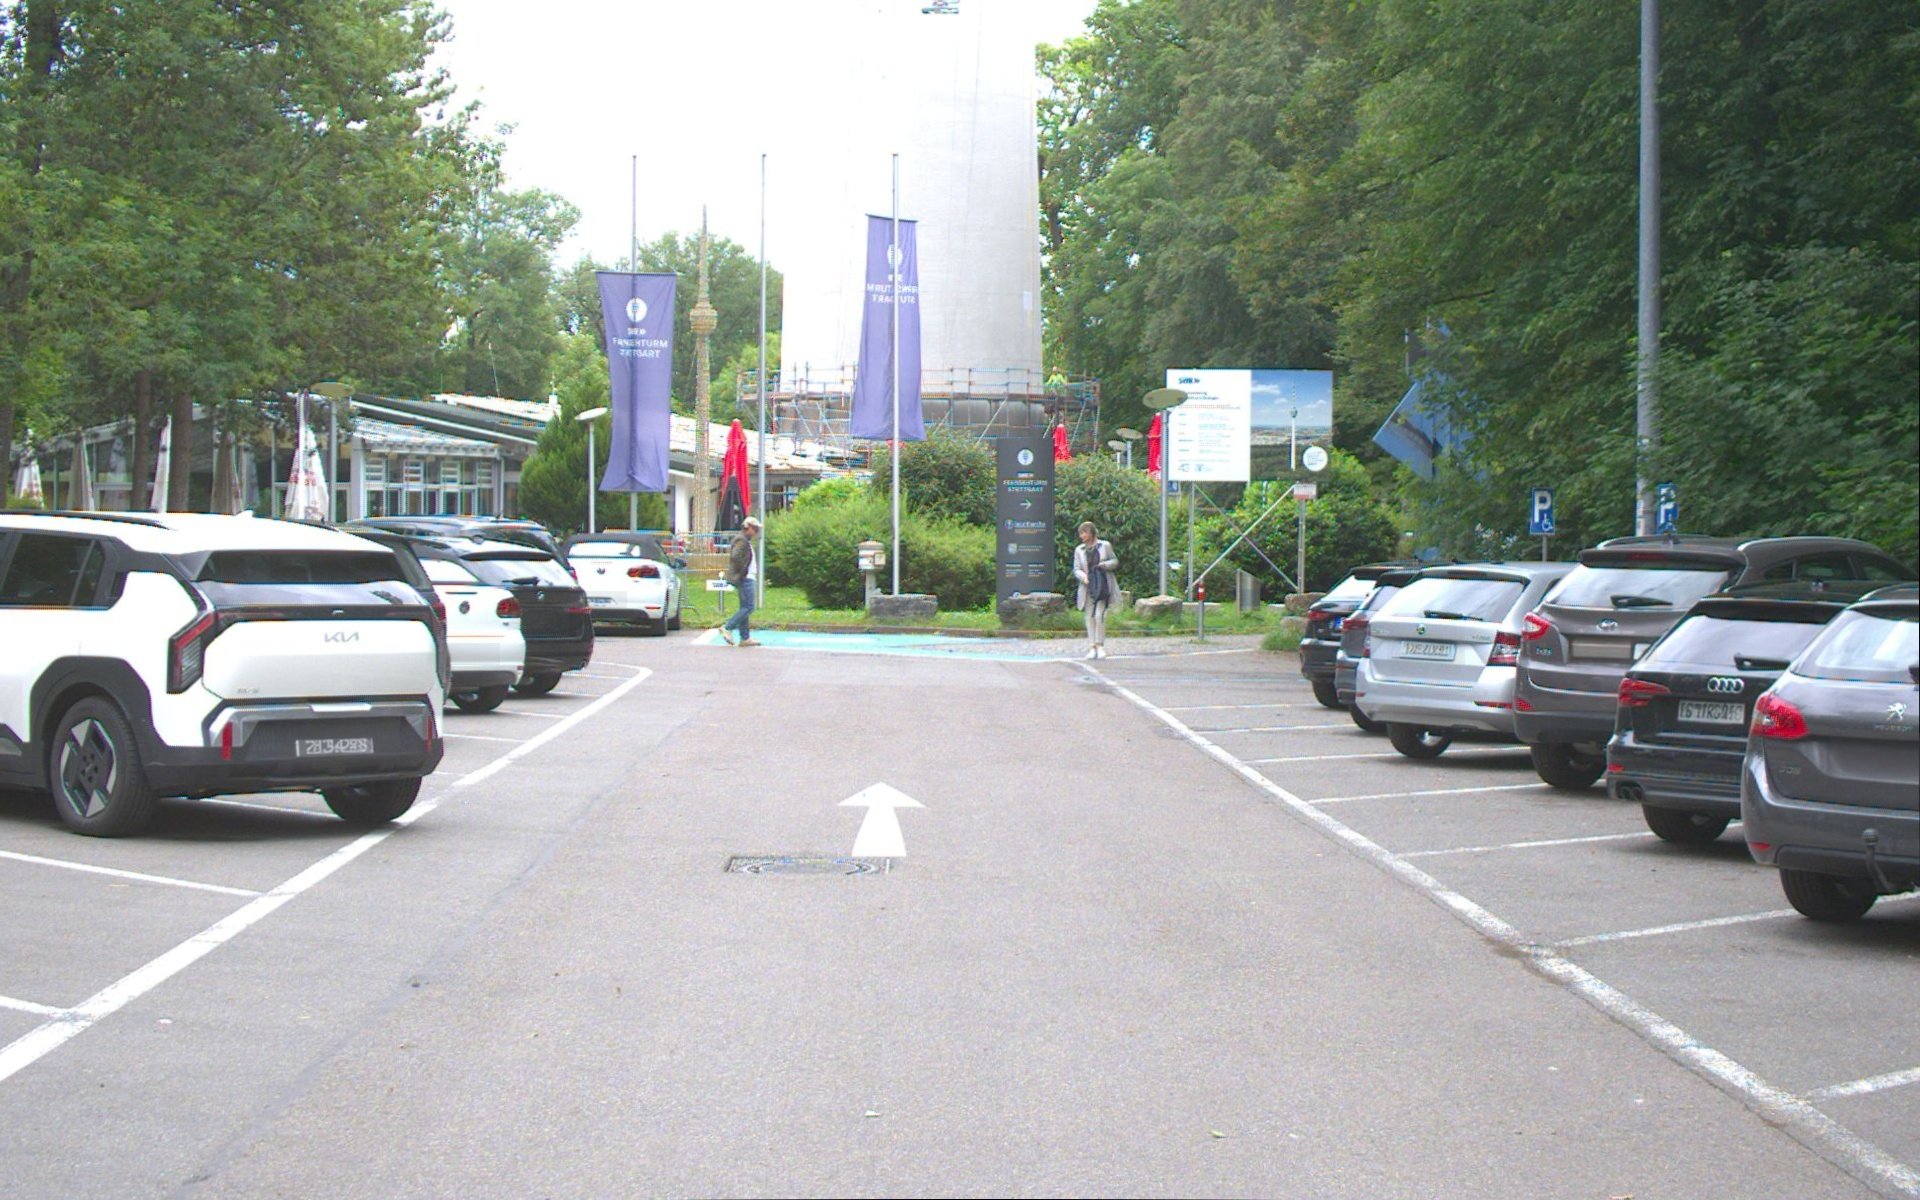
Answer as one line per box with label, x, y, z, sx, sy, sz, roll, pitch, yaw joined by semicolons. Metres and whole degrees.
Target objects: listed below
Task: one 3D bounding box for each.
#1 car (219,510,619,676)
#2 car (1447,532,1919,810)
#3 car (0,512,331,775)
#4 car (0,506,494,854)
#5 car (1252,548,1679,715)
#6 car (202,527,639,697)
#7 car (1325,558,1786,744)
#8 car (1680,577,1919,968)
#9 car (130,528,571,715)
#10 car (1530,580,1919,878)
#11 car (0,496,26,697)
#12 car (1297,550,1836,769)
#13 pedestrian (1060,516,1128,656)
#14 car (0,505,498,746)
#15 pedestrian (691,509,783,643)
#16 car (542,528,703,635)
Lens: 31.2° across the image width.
car;-5.754;-0.108;36.241;4.385;1.603;1.825;2;1;43
car;5.298;0.404;22.694;1.964;1.631;4.251;2;2;44
car;-6.166;0.205;22.381;3.996;1.549;1.869;2;2;37
car;-4.522;0.312;17.962;4.187;1.591;1.842;2;2;42
car;4.894;0.278;32.966;1.898;1.457;4.193;3;2;45
car;-5.126;0.074;32.332;4.275;1.438;1.755;2;1;42
car;5.081;0.389;29.039;1.909;1.417;3.990;2;2;44
car;4.987;0.649;14.561;1.804;1.452;4.176;2;2;44
car;-5.222;0.142;29.195;3.843;1.438;1.768;2;2;45
car;5.094;0.603;18.591;1.964;1.373;4.252;2;2;42
car;-9.883;-0.081;29.189;3.997;1.657;1.894;2;1;42
car;4.552;0.384;25.539;3.989;1.462;1.834;-1;2;-41
pedestrian;1.687;-0.179;43.137;0.762;1.719;0.897;1;1;6
car;-5.370;0.123;25.195;3.974;1.581;1.843;2;2;44
pedestrian;-2.911;-0.321;44.925;0.895;1.719;0.763;2;1;30
car;-4.783;-0.289;49.200;1.893;1.423;4.000;1;1;0
